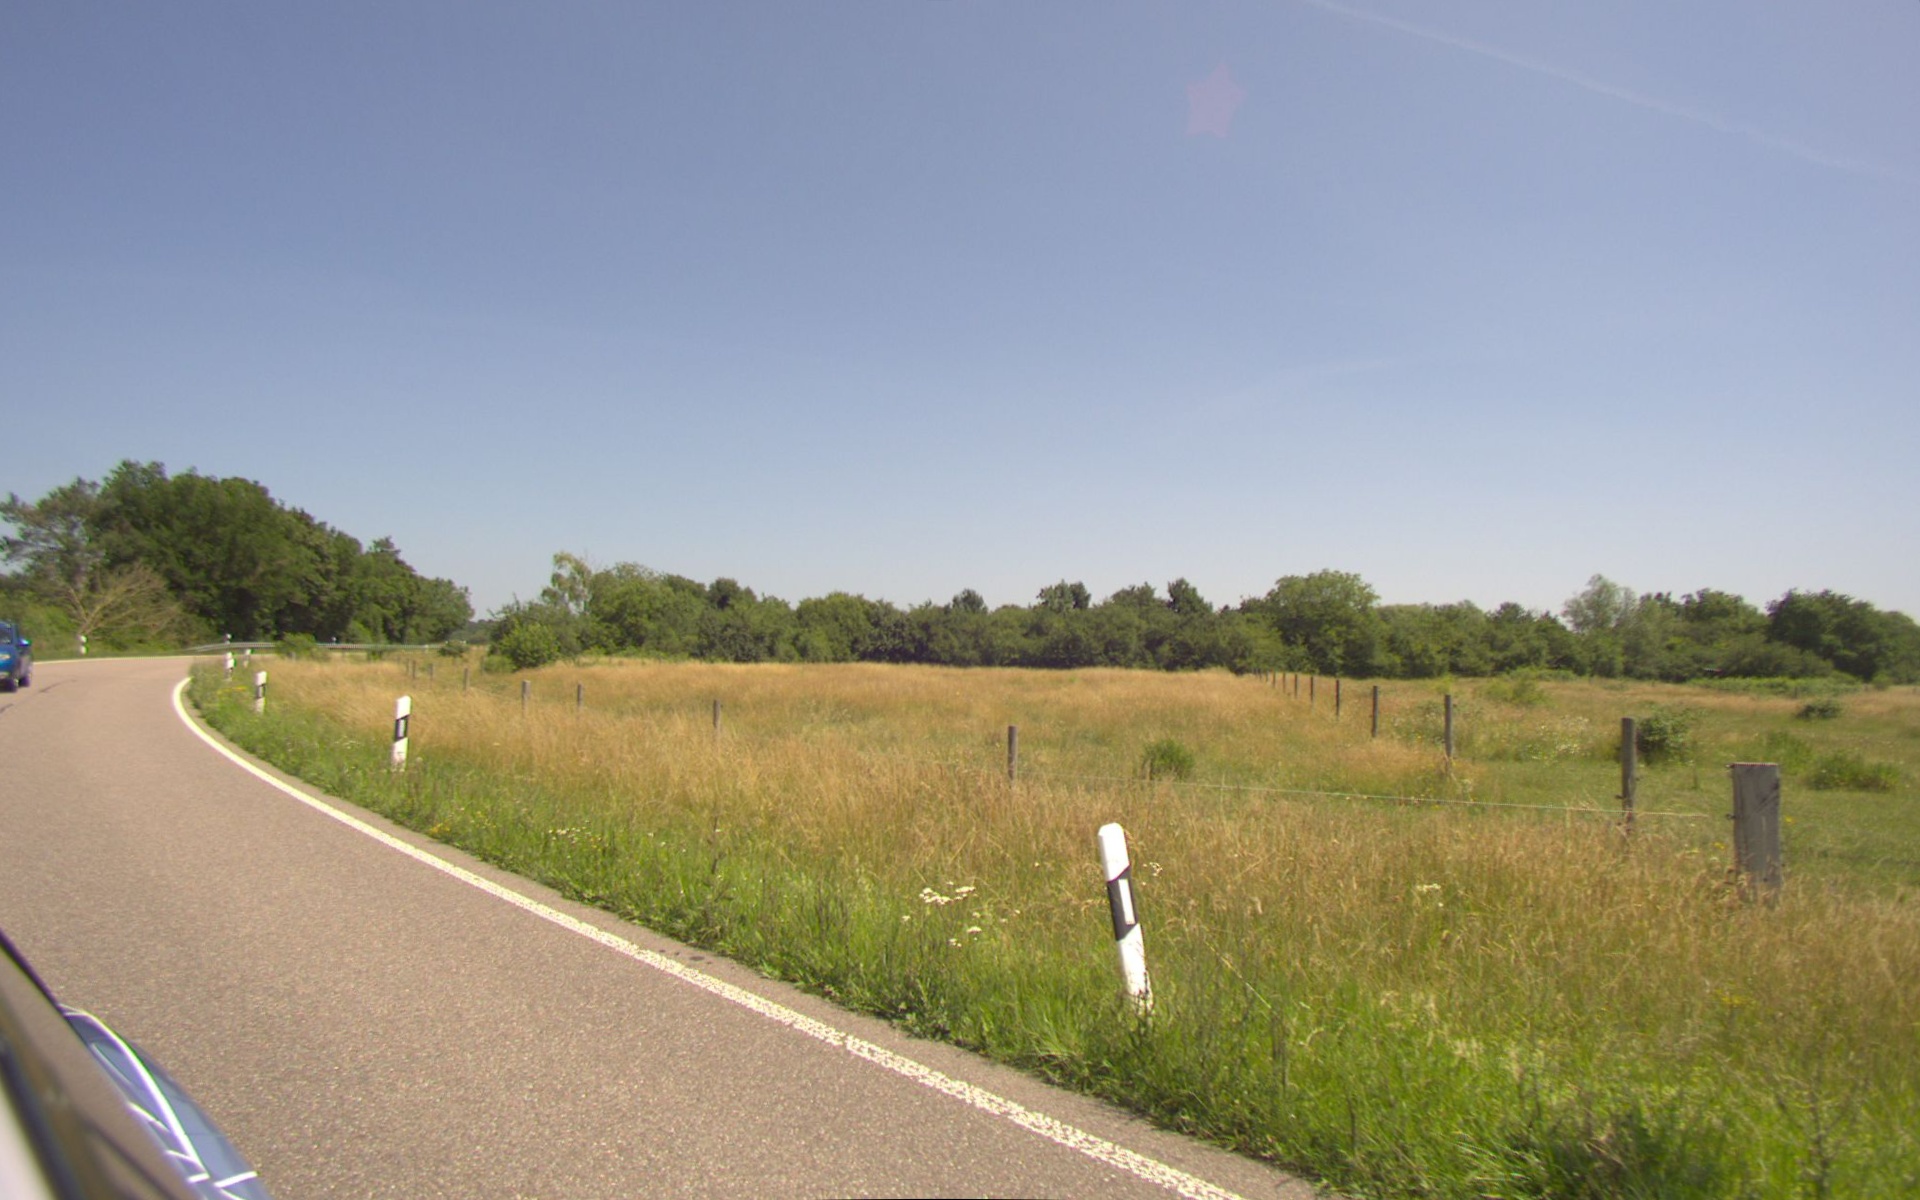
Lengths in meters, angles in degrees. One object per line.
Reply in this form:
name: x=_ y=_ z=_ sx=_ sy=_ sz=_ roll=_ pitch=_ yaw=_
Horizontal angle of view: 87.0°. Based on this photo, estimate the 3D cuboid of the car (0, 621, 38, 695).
car: x=-22.470 y=1.259 z=23.050 sx=1.707 sy=1.593 sz=4.009 roll=4 pitch=-4 yaw=-37
